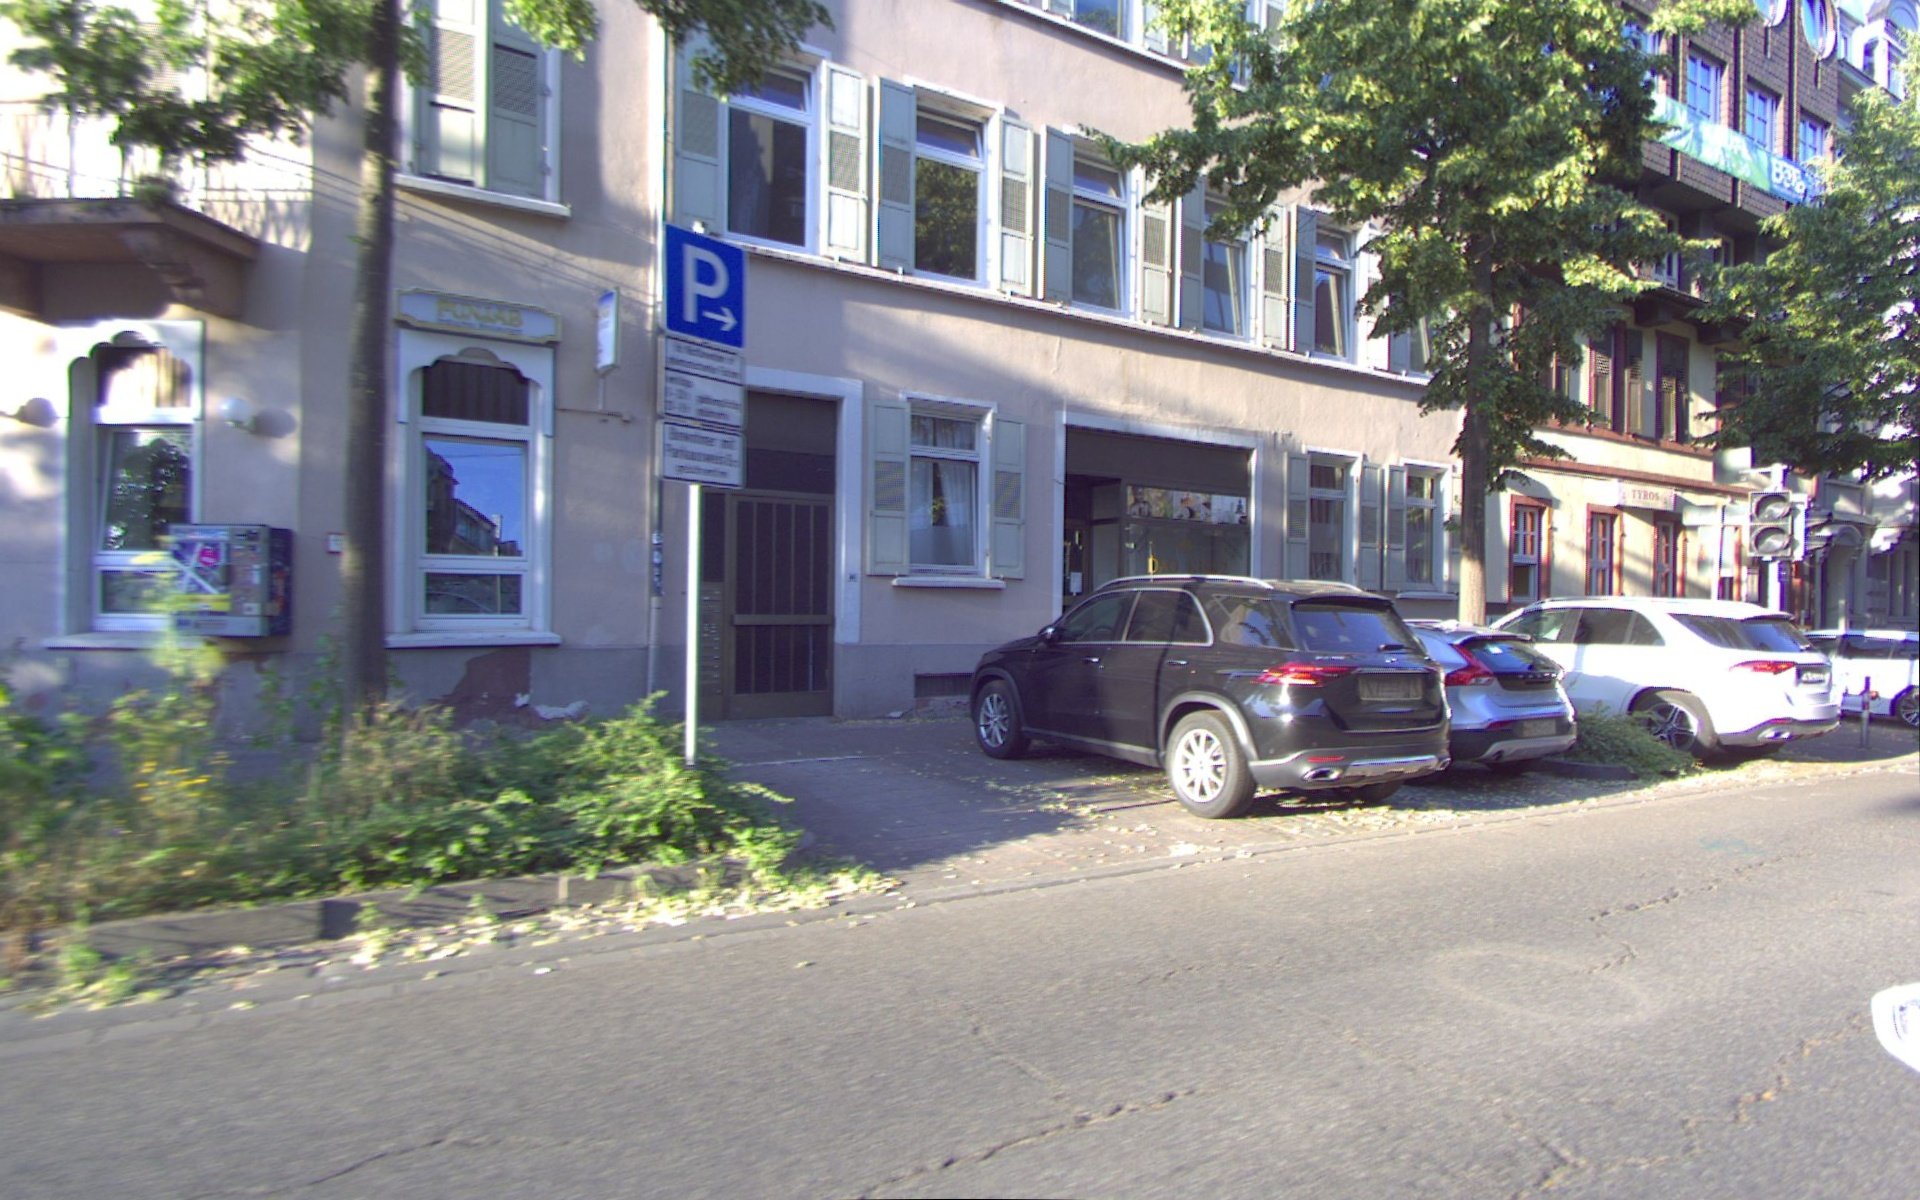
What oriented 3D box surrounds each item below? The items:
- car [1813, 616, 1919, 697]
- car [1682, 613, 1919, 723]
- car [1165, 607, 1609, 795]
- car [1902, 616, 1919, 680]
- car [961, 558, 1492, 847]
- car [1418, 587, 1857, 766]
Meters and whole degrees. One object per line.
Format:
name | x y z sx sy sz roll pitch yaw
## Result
car | 20.655 1.183 20.609 1.976 1.621 4.406 1 0 -29
car | 14.628 1.063 16.396 1.976 1.527 4.155 1 1 -30
car | 4.178 0.853 10.510 1.809 1.463 4.013 0 1 -29
car | 24.888 1.249 23.015 1.976 1.523 4.405 1 2 -29
car | 1.974 0.636 8.883 2.009 1.859 4.428 1 1 -29
car | 7.843 0.736 12.045 1.811 1.731 3.971 0 1 -29
